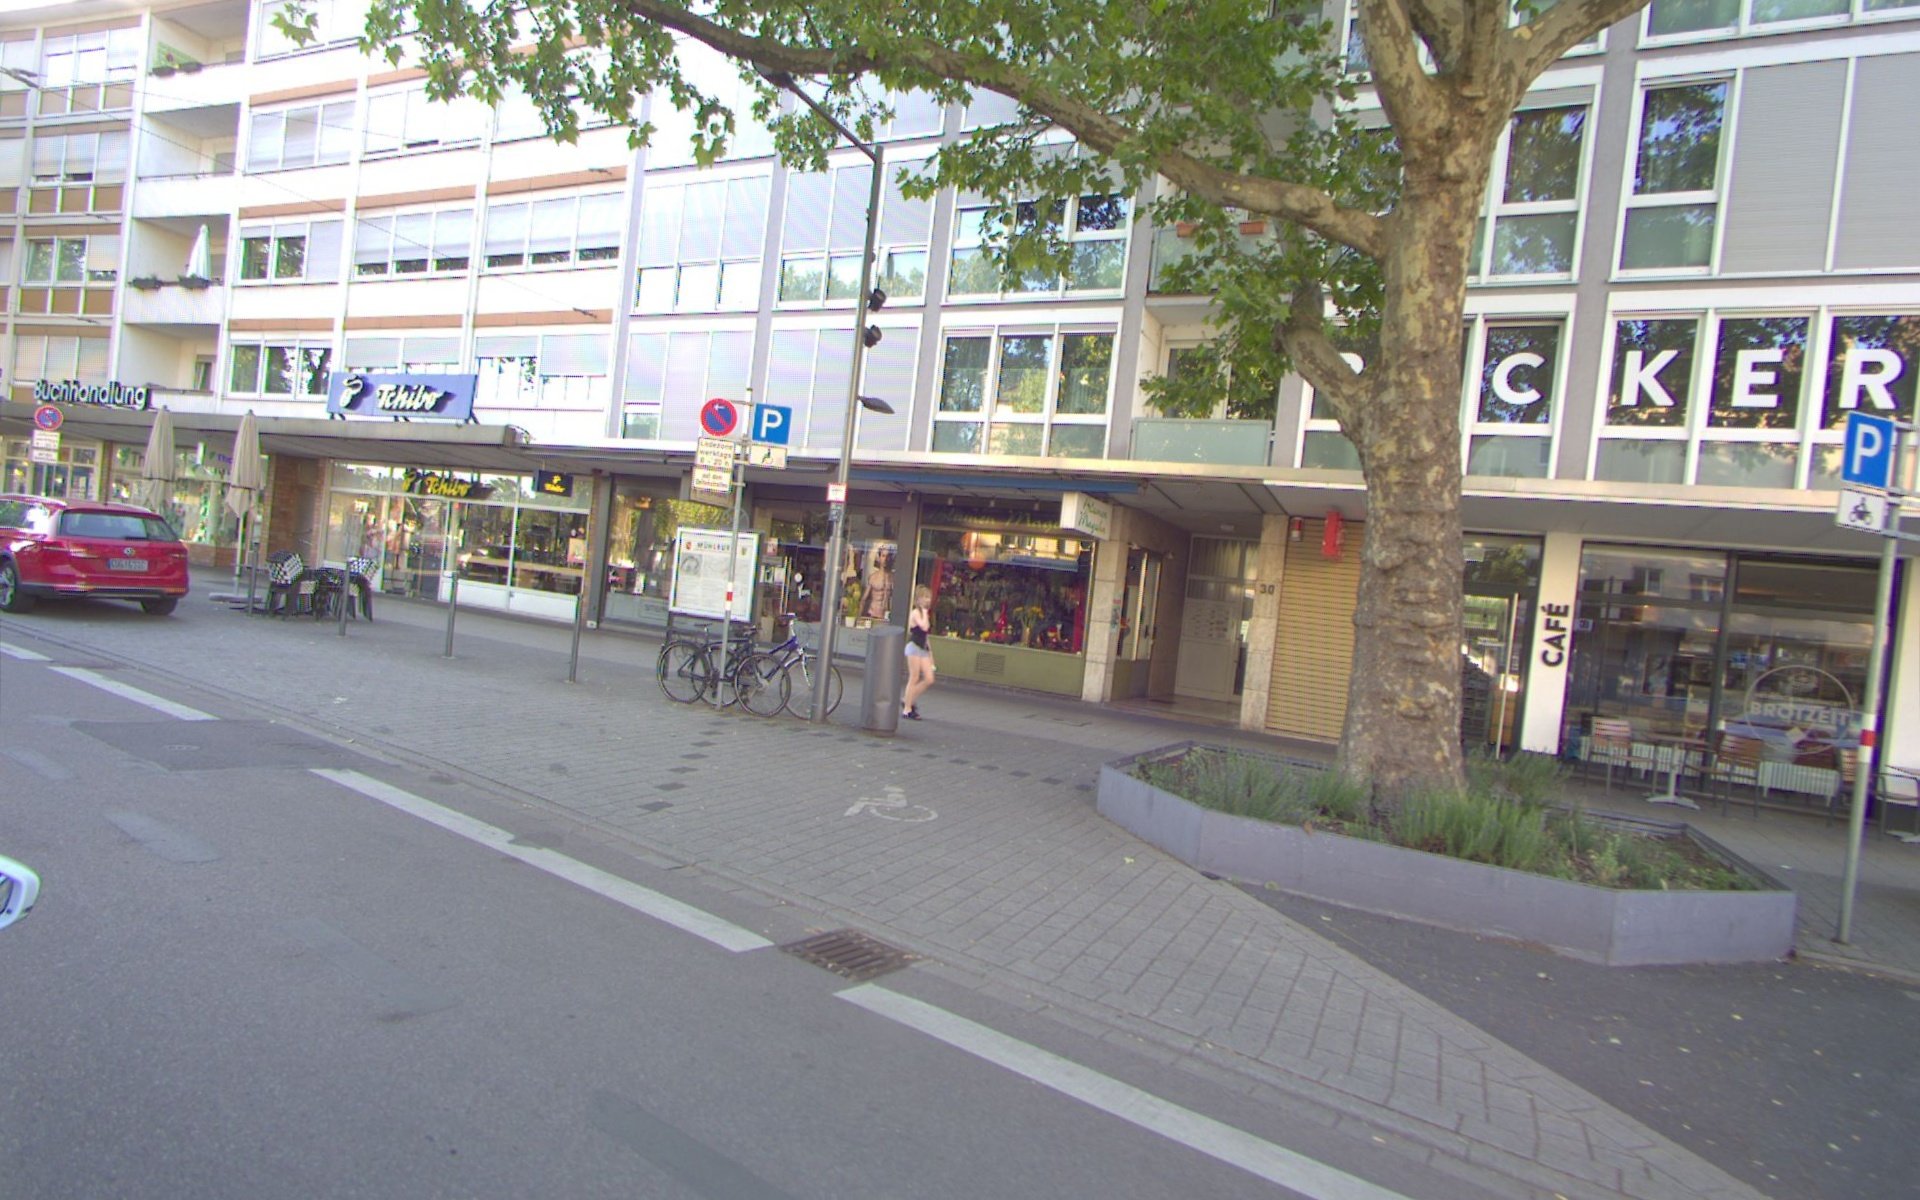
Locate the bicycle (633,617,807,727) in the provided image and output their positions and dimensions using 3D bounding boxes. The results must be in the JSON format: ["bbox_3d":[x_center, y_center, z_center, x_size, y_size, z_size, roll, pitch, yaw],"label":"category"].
[{"bbox_3d":[-2.584,0.760,10.826,1.743,0.951,0.391,6,2,12],"label":"bicycle"}]

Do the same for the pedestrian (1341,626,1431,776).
[{"bbox_3d":[5.003,1.157,11.802,0.776,1.613,0.651,7,3,26],"label":"pedestrian"}]

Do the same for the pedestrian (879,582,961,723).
[{"bbox_3d":[-0.478,0.626,12.096,0.631,1.596,0.560,7,1,26],"label":"pedestrian"}]

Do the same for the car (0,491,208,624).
[{"bbox_3d":[-12.643,-0.669,14.030,4.229,1.502,1.772,7,1,28],"label":"car"}]

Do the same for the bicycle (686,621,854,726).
[{"bbox_3d":[-2.108,0.799,11.150,1.743,0.931,0.391,6,2,12],"label":"bicycle"}]
